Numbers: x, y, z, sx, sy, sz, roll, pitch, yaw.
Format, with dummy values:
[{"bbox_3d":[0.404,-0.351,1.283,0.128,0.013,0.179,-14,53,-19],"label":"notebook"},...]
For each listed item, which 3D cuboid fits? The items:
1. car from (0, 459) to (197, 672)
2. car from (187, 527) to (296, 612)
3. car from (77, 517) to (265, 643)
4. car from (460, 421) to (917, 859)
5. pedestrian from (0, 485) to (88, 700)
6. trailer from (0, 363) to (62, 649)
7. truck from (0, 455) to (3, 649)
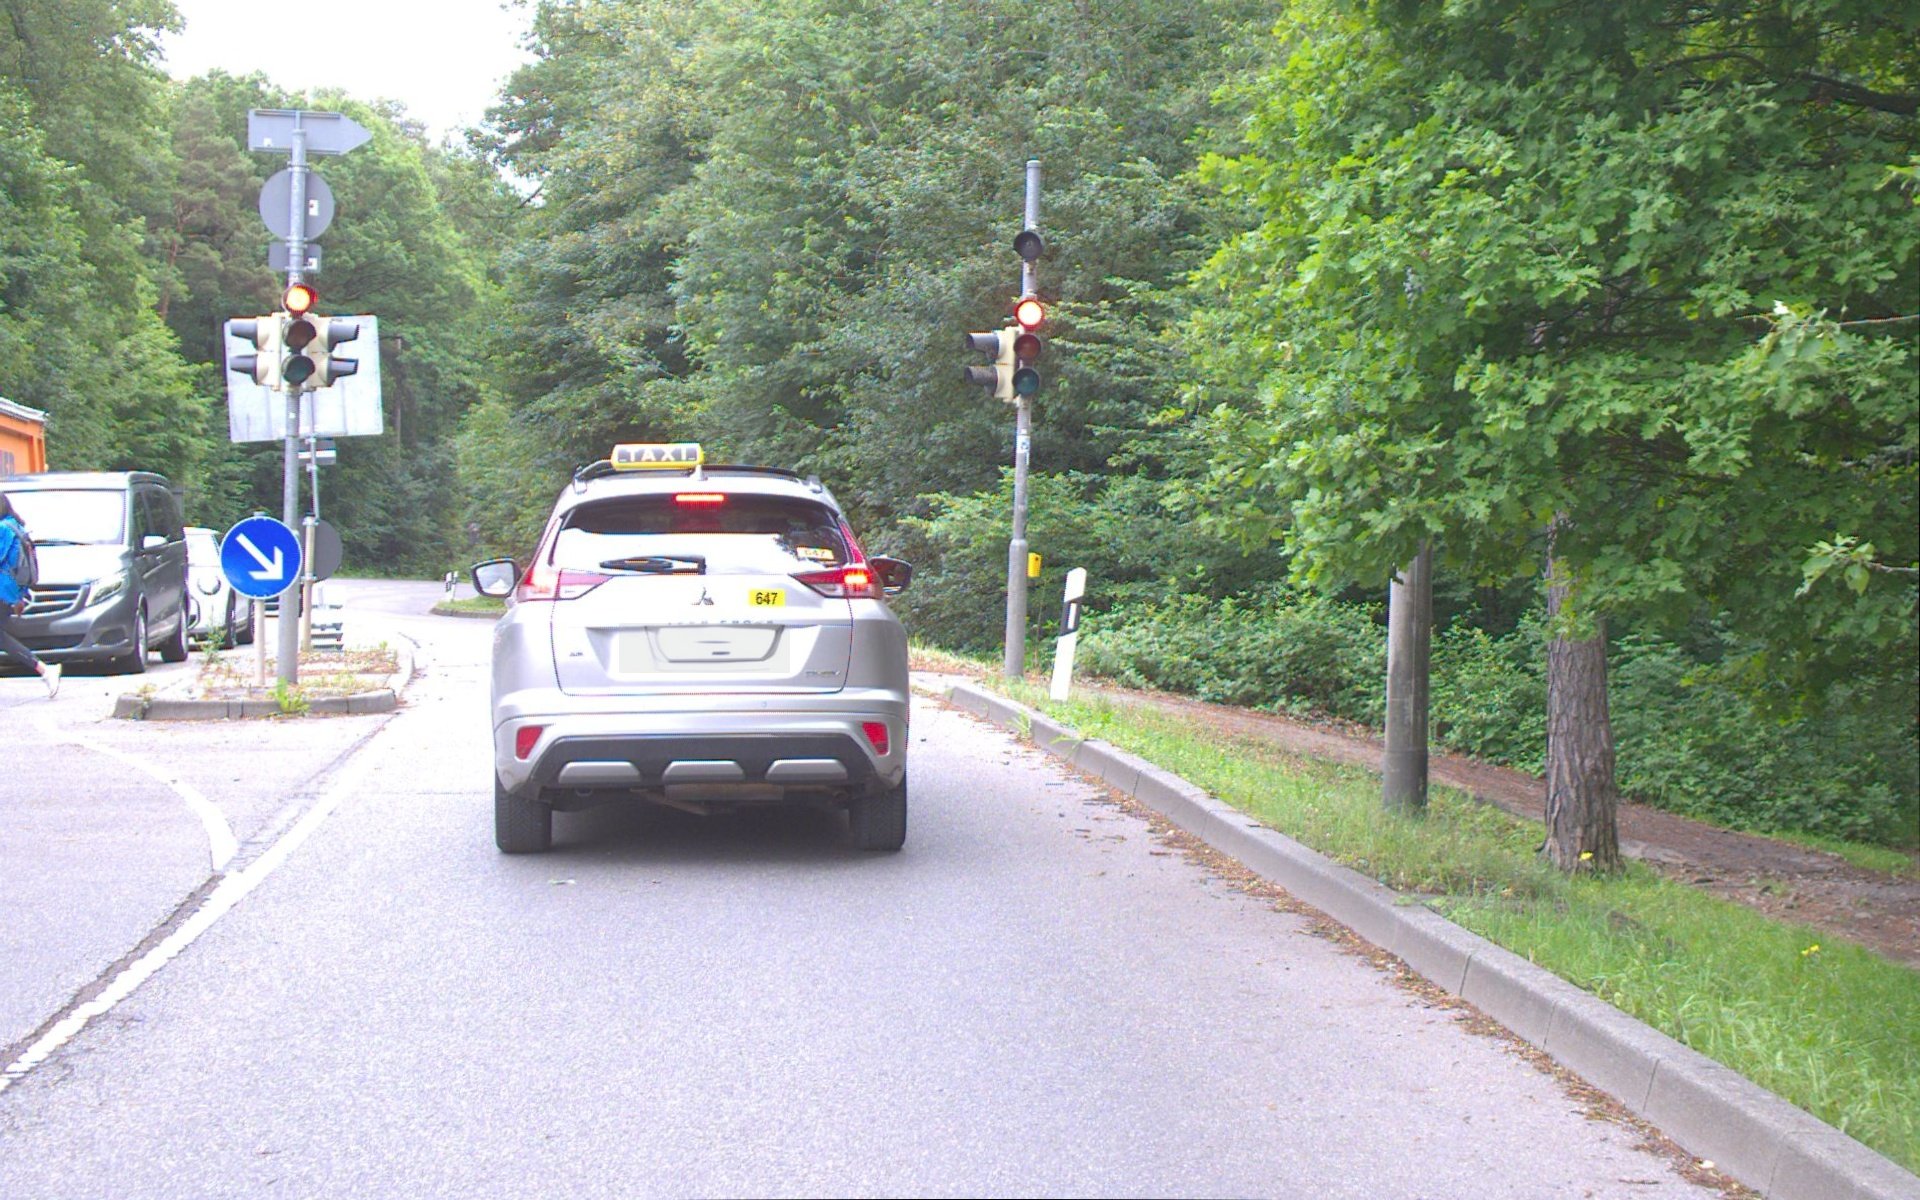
[{"bbox_3d":[-8.680,-0.339,33.246,1.993,1.887,4.840,-1,1,-6],"label":"car"},{"bbox_3d":[-13.698,-0.601,65.695,1.811,1.503,3.722,-2,1,-9],"label":"car"},{"bbox_3d":[-9.243,-0.271,40.519,1.612,1.316,3.722,-2,2,-5],"label":"car"},{"bbox_3d":[-1.268,0.138,16.014,1.846,1.774,4.001,0,1,-5],"label":"car"},{"bbox_3d":[-7.497,-0.076,26.897,1.047,1.643,1.069,0,2,1],"label":"pedestrian"},{"bbox_3d":[-12.615,-1.080,40.777,2.738,3.307,8.571,-1,1,-8],"label":"trailer"},{"bbox_3d":[-11.974,-1.033,36.053,2.738,3.307,7.161,-1,1,-8],"label":"truck"}]
